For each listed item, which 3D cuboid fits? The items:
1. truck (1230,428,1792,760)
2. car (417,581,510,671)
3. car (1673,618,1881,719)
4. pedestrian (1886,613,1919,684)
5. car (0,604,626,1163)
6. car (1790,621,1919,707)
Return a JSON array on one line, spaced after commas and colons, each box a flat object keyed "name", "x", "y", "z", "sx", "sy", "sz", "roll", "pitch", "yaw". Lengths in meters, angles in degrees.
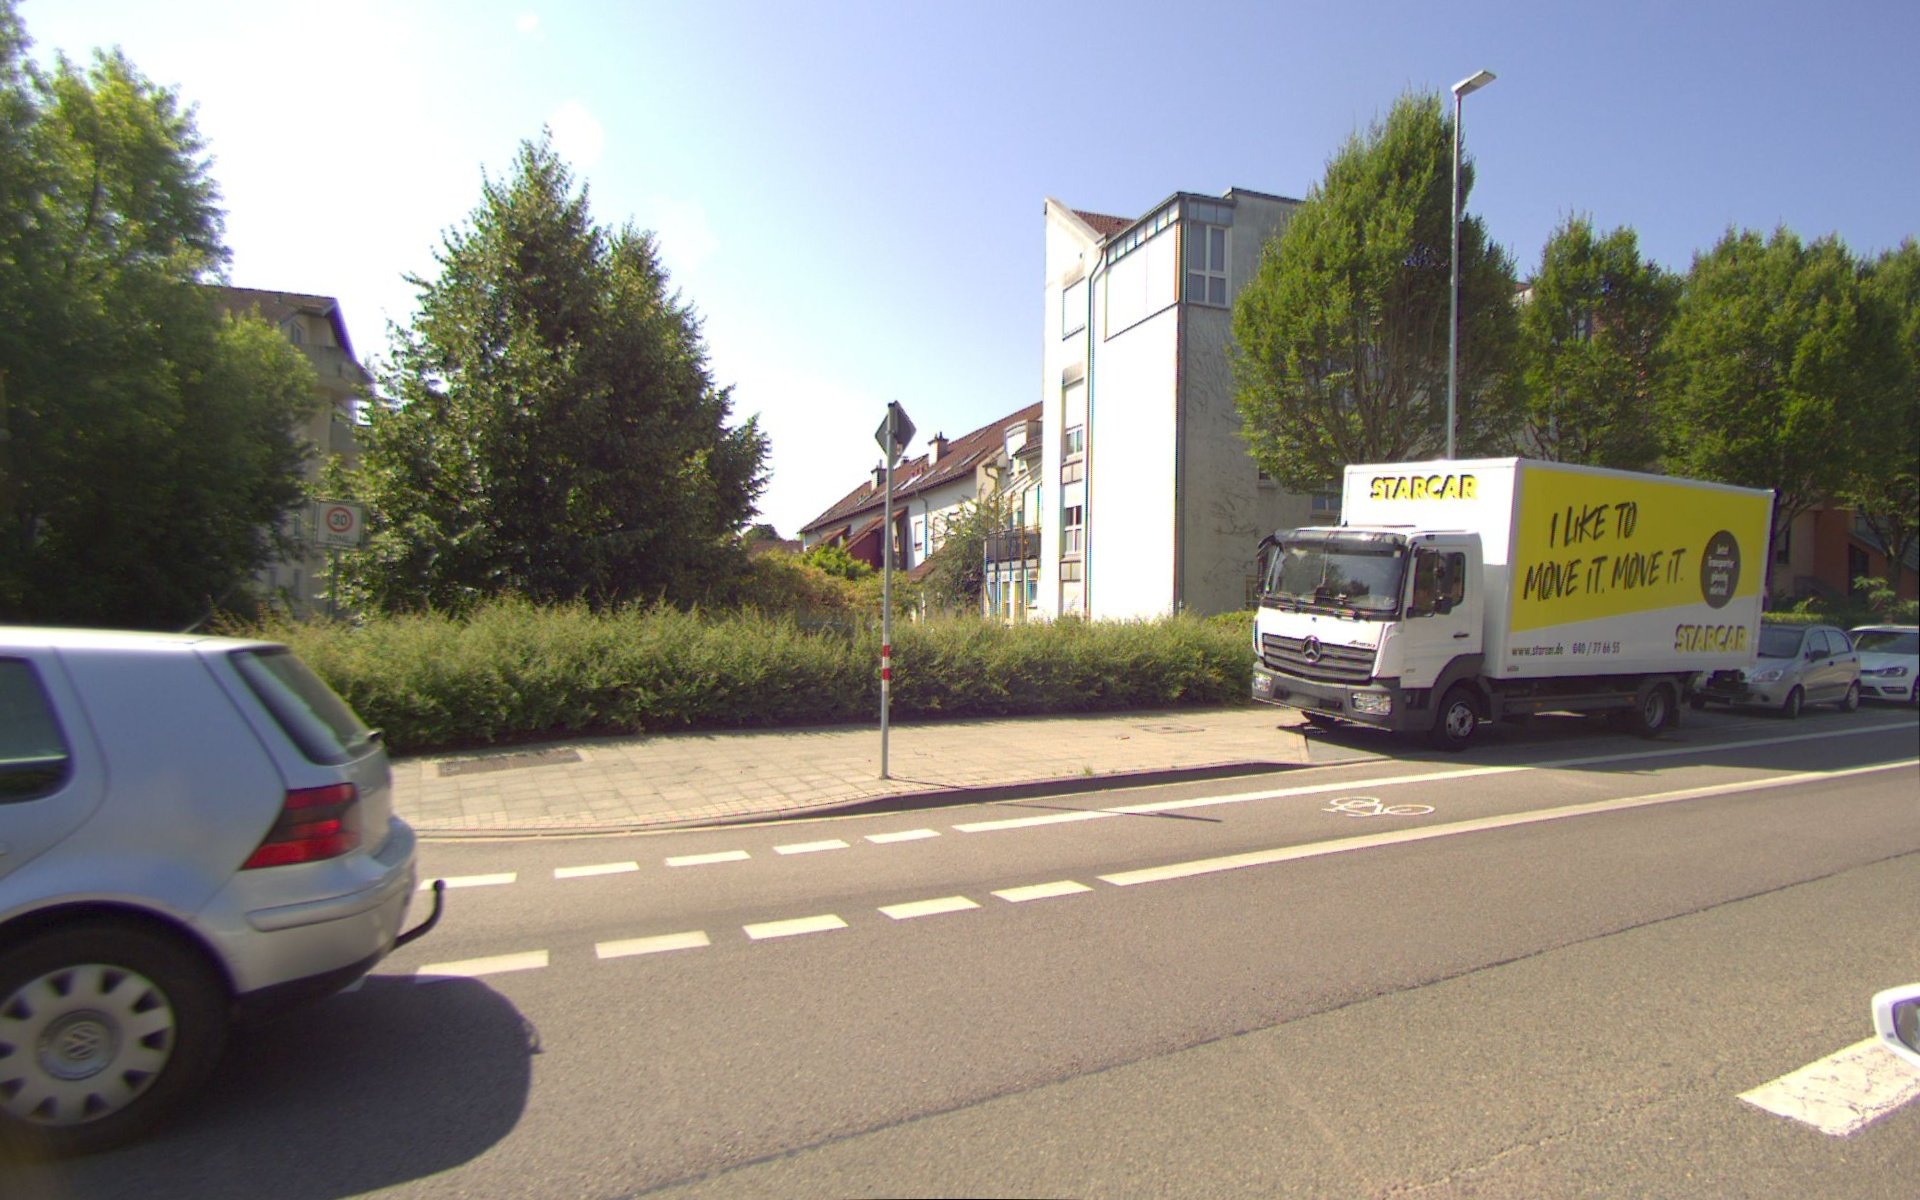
[{"name": "truck", "x": 7.922, "y": -0.051, "z": 14.024, "sx": 8.484, "sy": 3.578, "sz": 2.655, "roll": 1, "pitch": 2, "yaw": -29}, {"name": "car", "x": -15.136, "y": 0.762, "z": 30.840, "sx": 1.758, "sy": 2.572, "sz": 4.174, "roll": 1, "pitch": 0, "yaw": -15}, {"name": "car", "x": 14.130, "y": 1.117, "z": 17.351, "sx": 3.593, "sy": 1.504, "sz": 1.601, "roll": 1, "pitch": 2, "yaw": -30}, {"name": "pedestrian", "x": 23.716, "y": 1.197, "z": 24.875, "sx": 1.042, "sy": 1.713, "sz": 0.871, "roll": 1, "pitch": 0, "yaw": -28}, {"name": "car", "x": -3.358, "y": 0.749, "z": 3.087, "sx": 4.253, "sy": 1.439, "sz": 1.653, "roll": 1, "pitch": -2, "yaw": -26}, {"name": "car", "x": 18.256, "y": 1.178, "z": 19.558, "sx": 4.228, "sy": 1.448, "sz": 1.750, "roll": 1, "pitch": 1, "yaw": -29}]
